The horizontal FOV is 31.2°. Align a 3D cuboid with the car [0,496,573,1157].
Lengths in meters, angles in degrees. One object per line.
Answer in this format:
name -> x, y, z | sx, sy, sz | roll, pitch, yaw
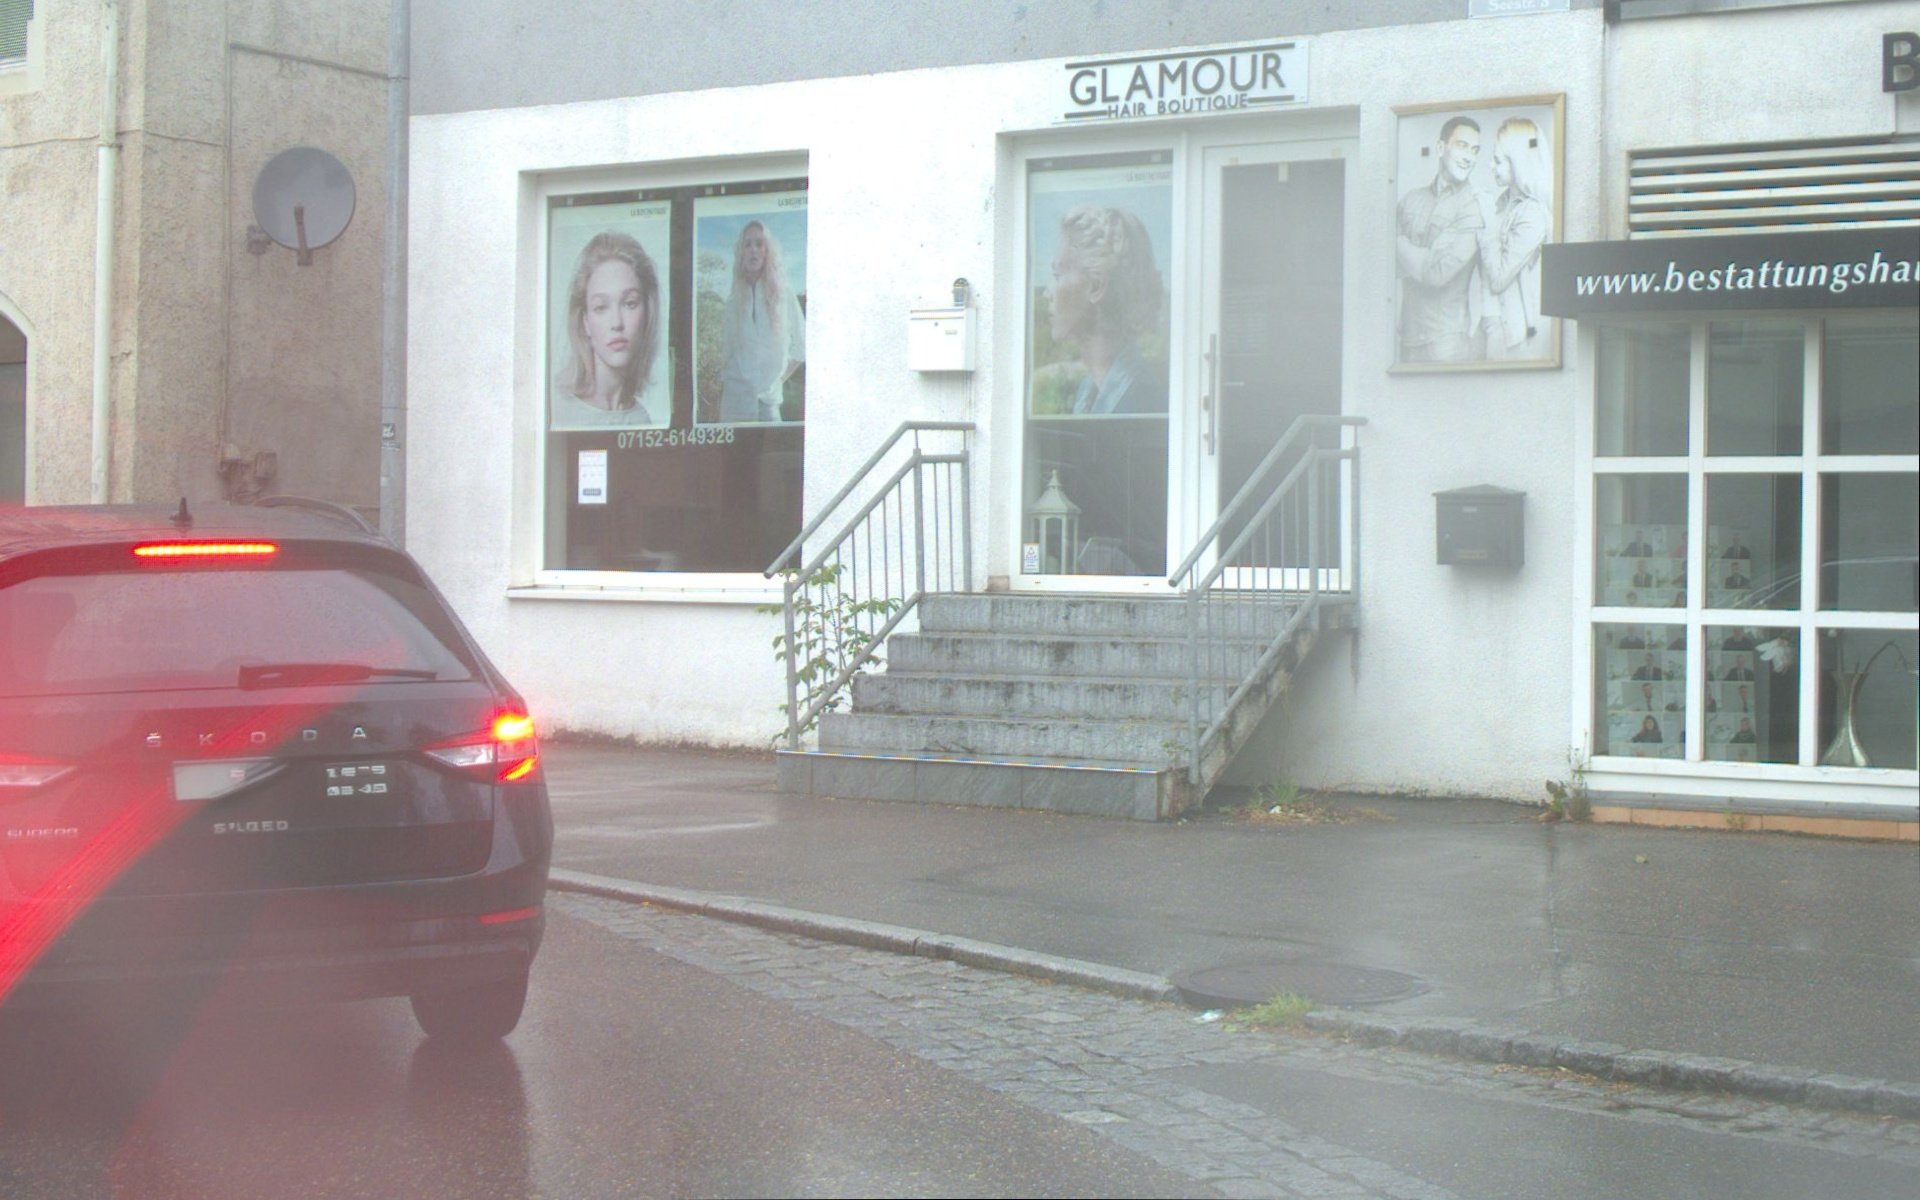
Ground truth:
car -> -2.565, 0.456, 9.996 | 1.732, 1.445, 4.243 | -1, 3, -23
